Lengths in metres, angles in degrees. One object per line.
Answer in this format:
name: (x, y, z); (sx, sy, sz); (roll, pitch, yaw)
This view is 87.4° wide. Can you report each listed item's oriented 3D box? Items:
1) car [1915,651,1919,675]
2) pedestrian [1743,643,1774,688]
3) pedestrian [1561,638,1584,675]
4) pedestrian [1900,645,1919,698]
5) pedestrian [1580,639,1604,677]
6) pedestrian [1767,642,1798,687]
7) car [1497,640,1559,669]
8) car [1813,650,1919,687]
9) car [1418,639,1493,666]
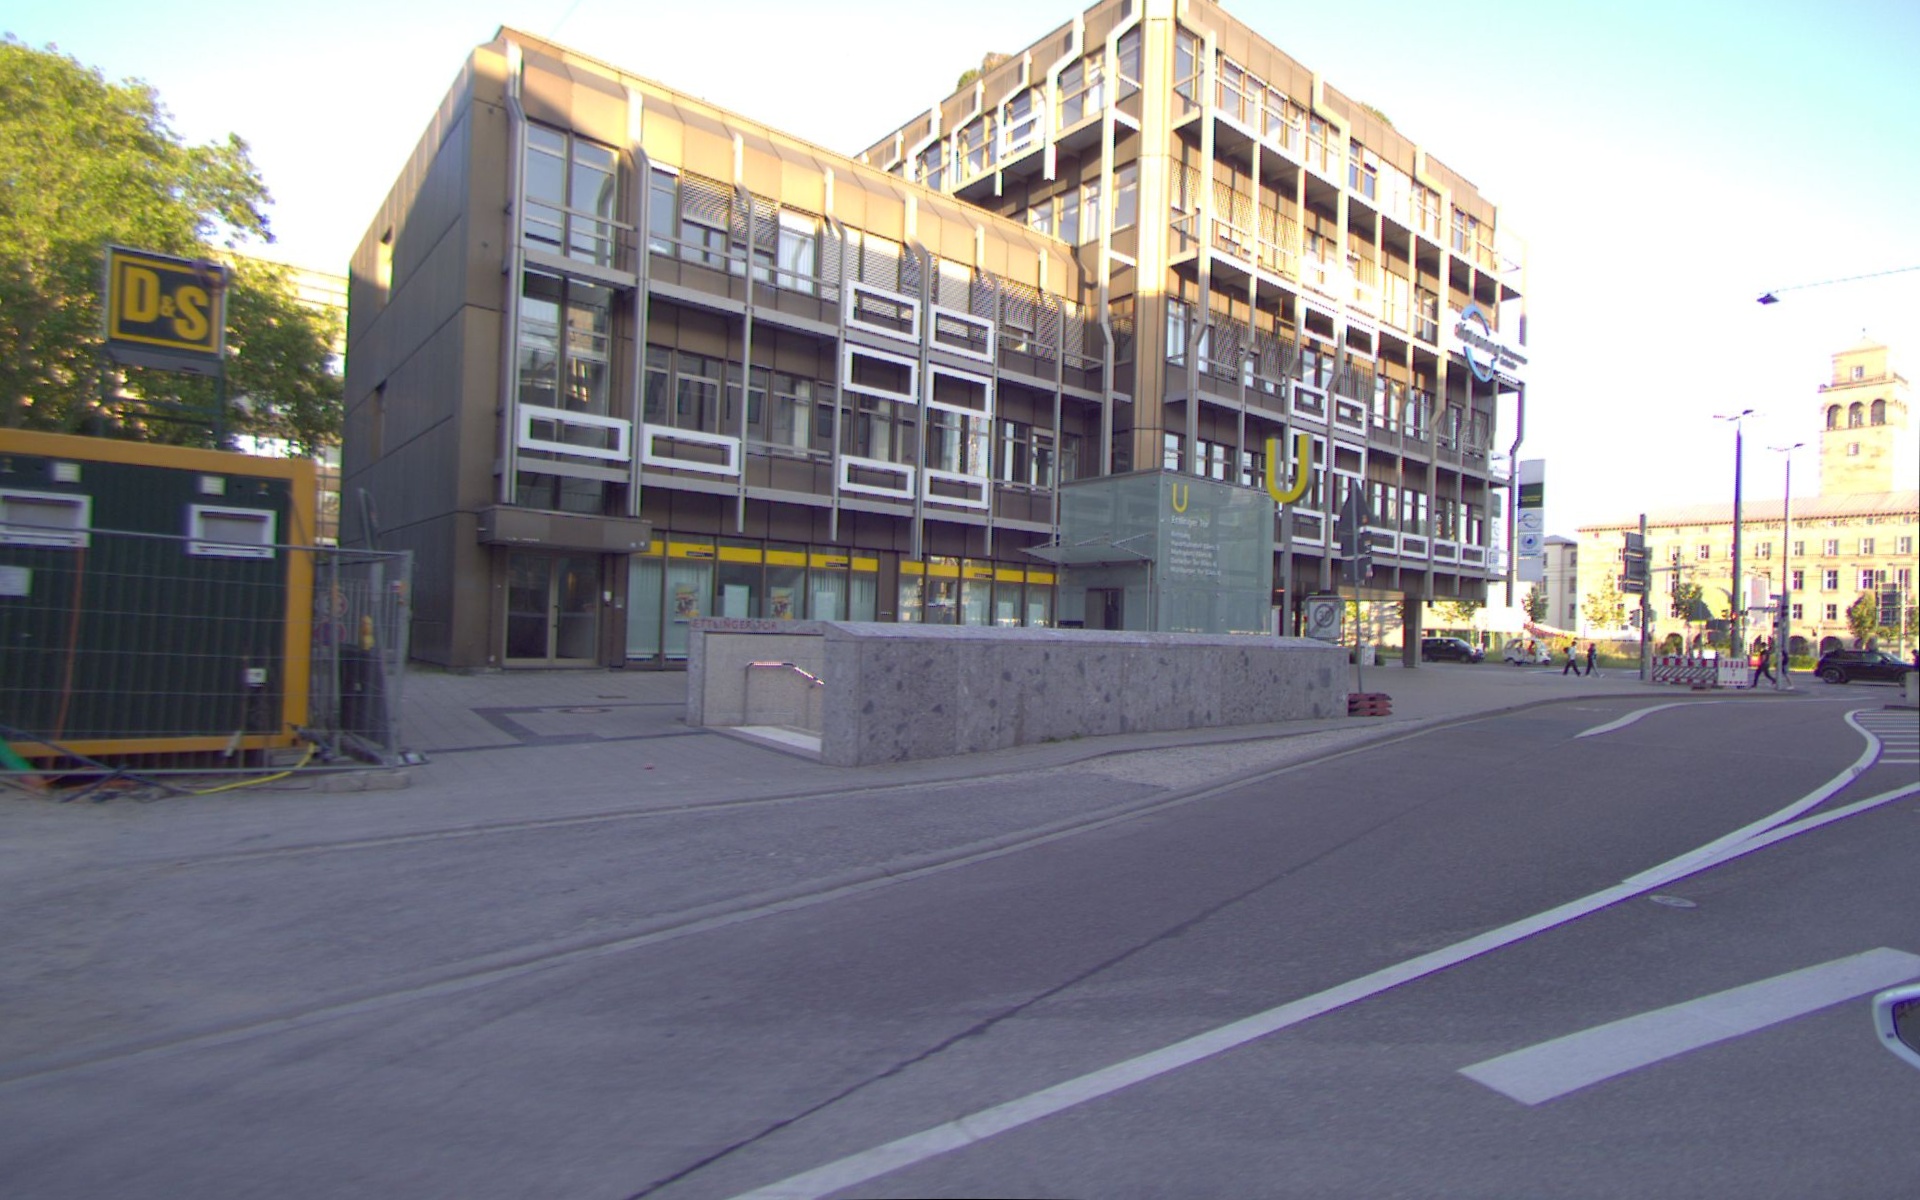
car: (61.929, 3.953, 62.173); (3.941, 1.514, 1.819); (0, -2, 41)
pedestrian: (31.985, 2.615, 40.242); (0.856, 1.800, 0.733); (2, -4, -38)
pedestrian: (30.233, 2.808, 49.613); (0.726, 1.800, 0.864); (-1, -3, 18)
pedestrian: (33.111, 2.481, 34.726); (0.728, 1.800, 0.861); (2, -1, 35)
pedestrian: (30.695, 2.831, 48.778); (0.726, 1.800, 0.864); (-1, -3, 16)
pedestrian: (33.153, 2.601, 40.482); (0.856, 1.800, 0.733); (2, -4, -38)
car: (35.553, 3.382, 62.898); (3.096, 1.707, 1.604); (0, -2, 42)
car: (41.964, 3.094, 45.709); (2.107, 1.515, 4.431); (2, -2, -35)
car: (32.818, 3.447, 66.533); (1.685, 1.613, 4.141); (3, -2, -43)
